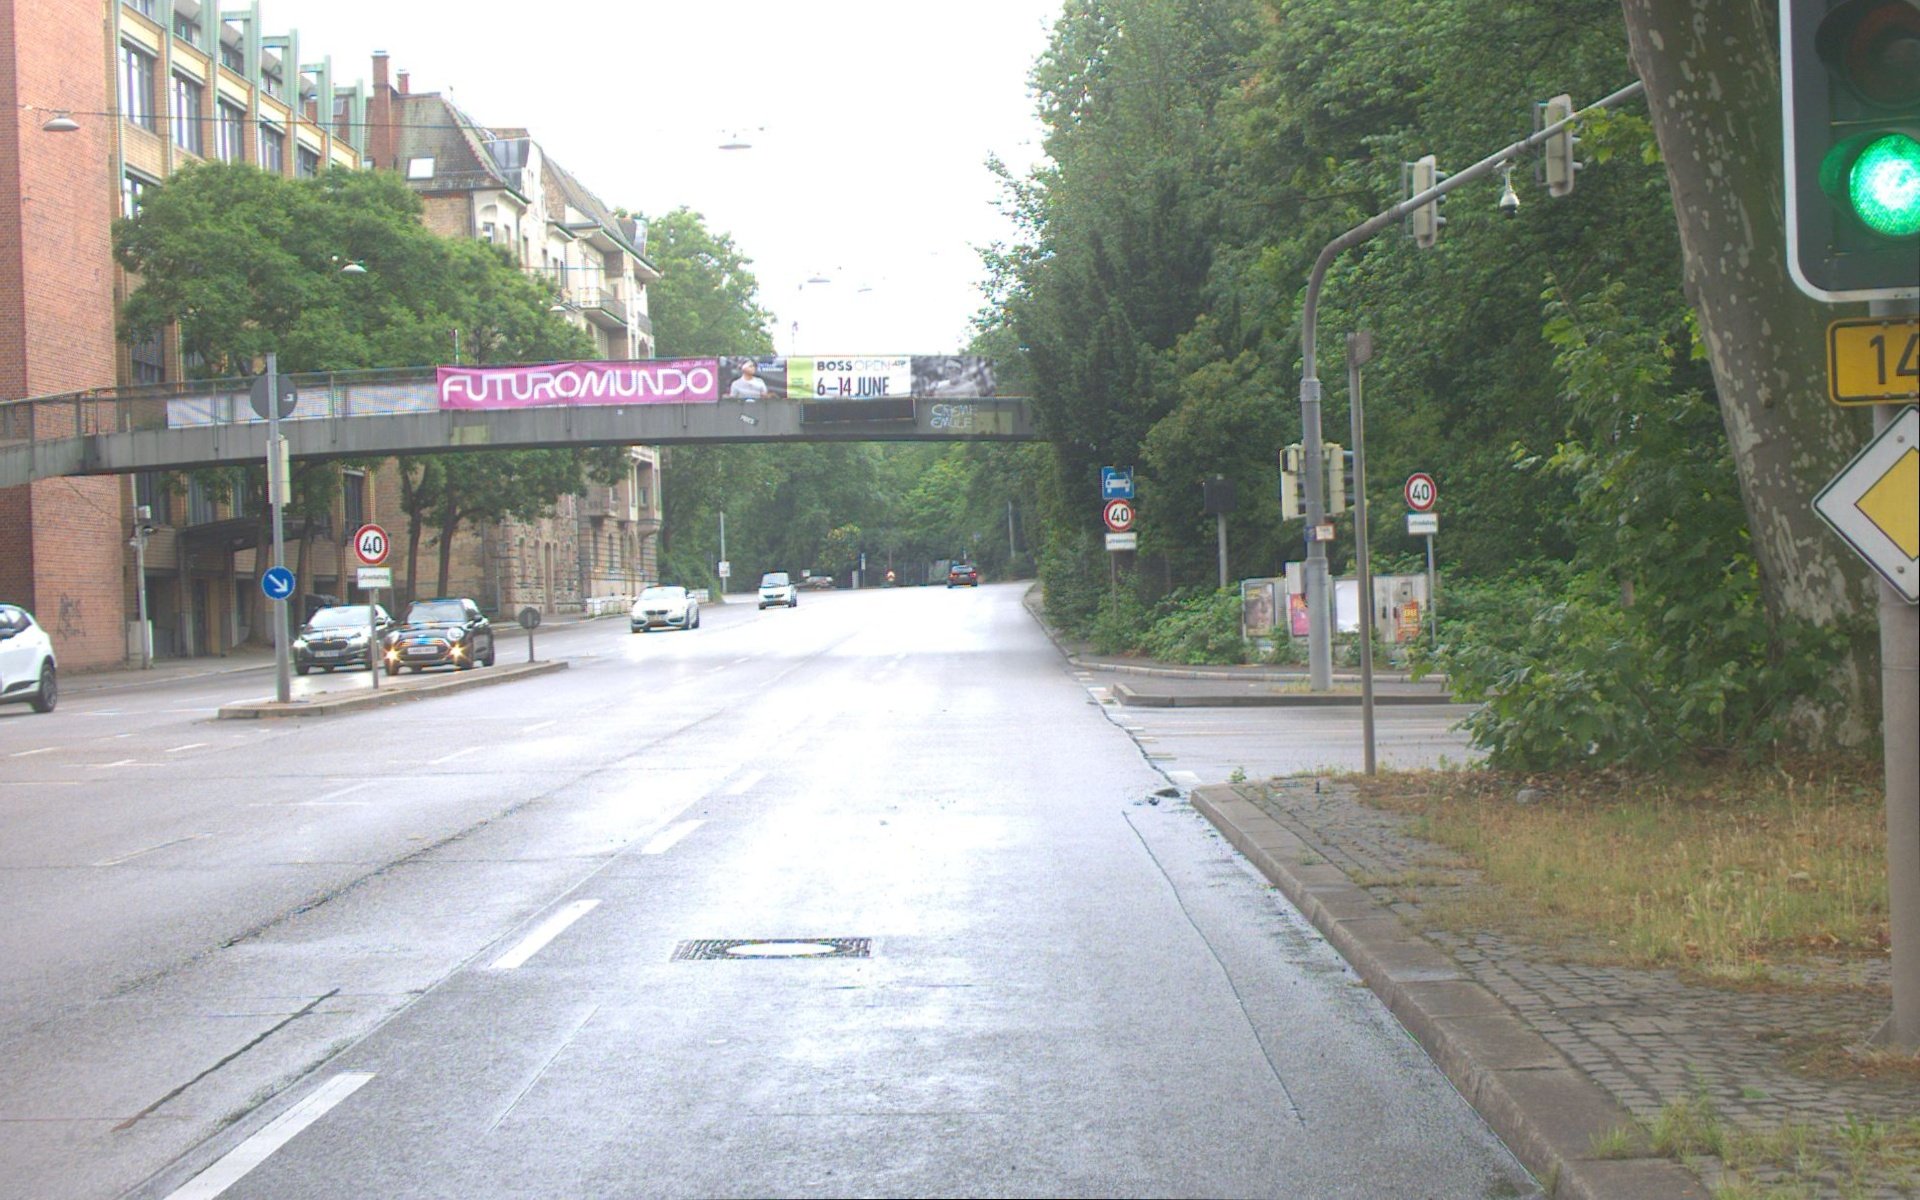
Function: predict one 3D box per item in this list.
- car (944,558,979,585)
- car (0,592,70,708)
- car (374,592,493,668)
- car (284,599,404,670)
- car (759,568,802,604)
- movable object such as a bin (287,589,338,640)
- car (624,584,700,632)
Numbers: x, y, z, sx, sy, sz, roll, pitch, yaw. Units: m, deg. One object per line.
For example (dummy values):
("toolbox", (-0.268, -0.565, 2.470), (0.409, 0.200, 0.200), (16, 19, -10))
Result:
("car", (0.085, -1.834, 221.053), (2.004, 1.638, 4.376), (-2, 0, -2))
("car", (-14.258, 0.712, 48.870), (1.890, 1.604, 4.456), (-1, 0, 2))
("car", (-10.499, 0.579, 68.816), (1.683, 1.431, 3.862), (-2, 0, 1))
("car", (-13.517, 0.734, 75.613), (1.709, 1.459, 4.041), (-2, 0, 3))
("car", (-7.934, -0.599, 152.359), (1.600, 1.494, 3.711), (-3, 0, 1))
("movable object such as a bin", (-20.110, 0.450, 106.801), (1.282, 1.513, 1.273), (-1, 0, 1))
("car", (-9.233, 0.232, 106.794), (1.830, 1.389, 4.405), (-3, 0, 1))
